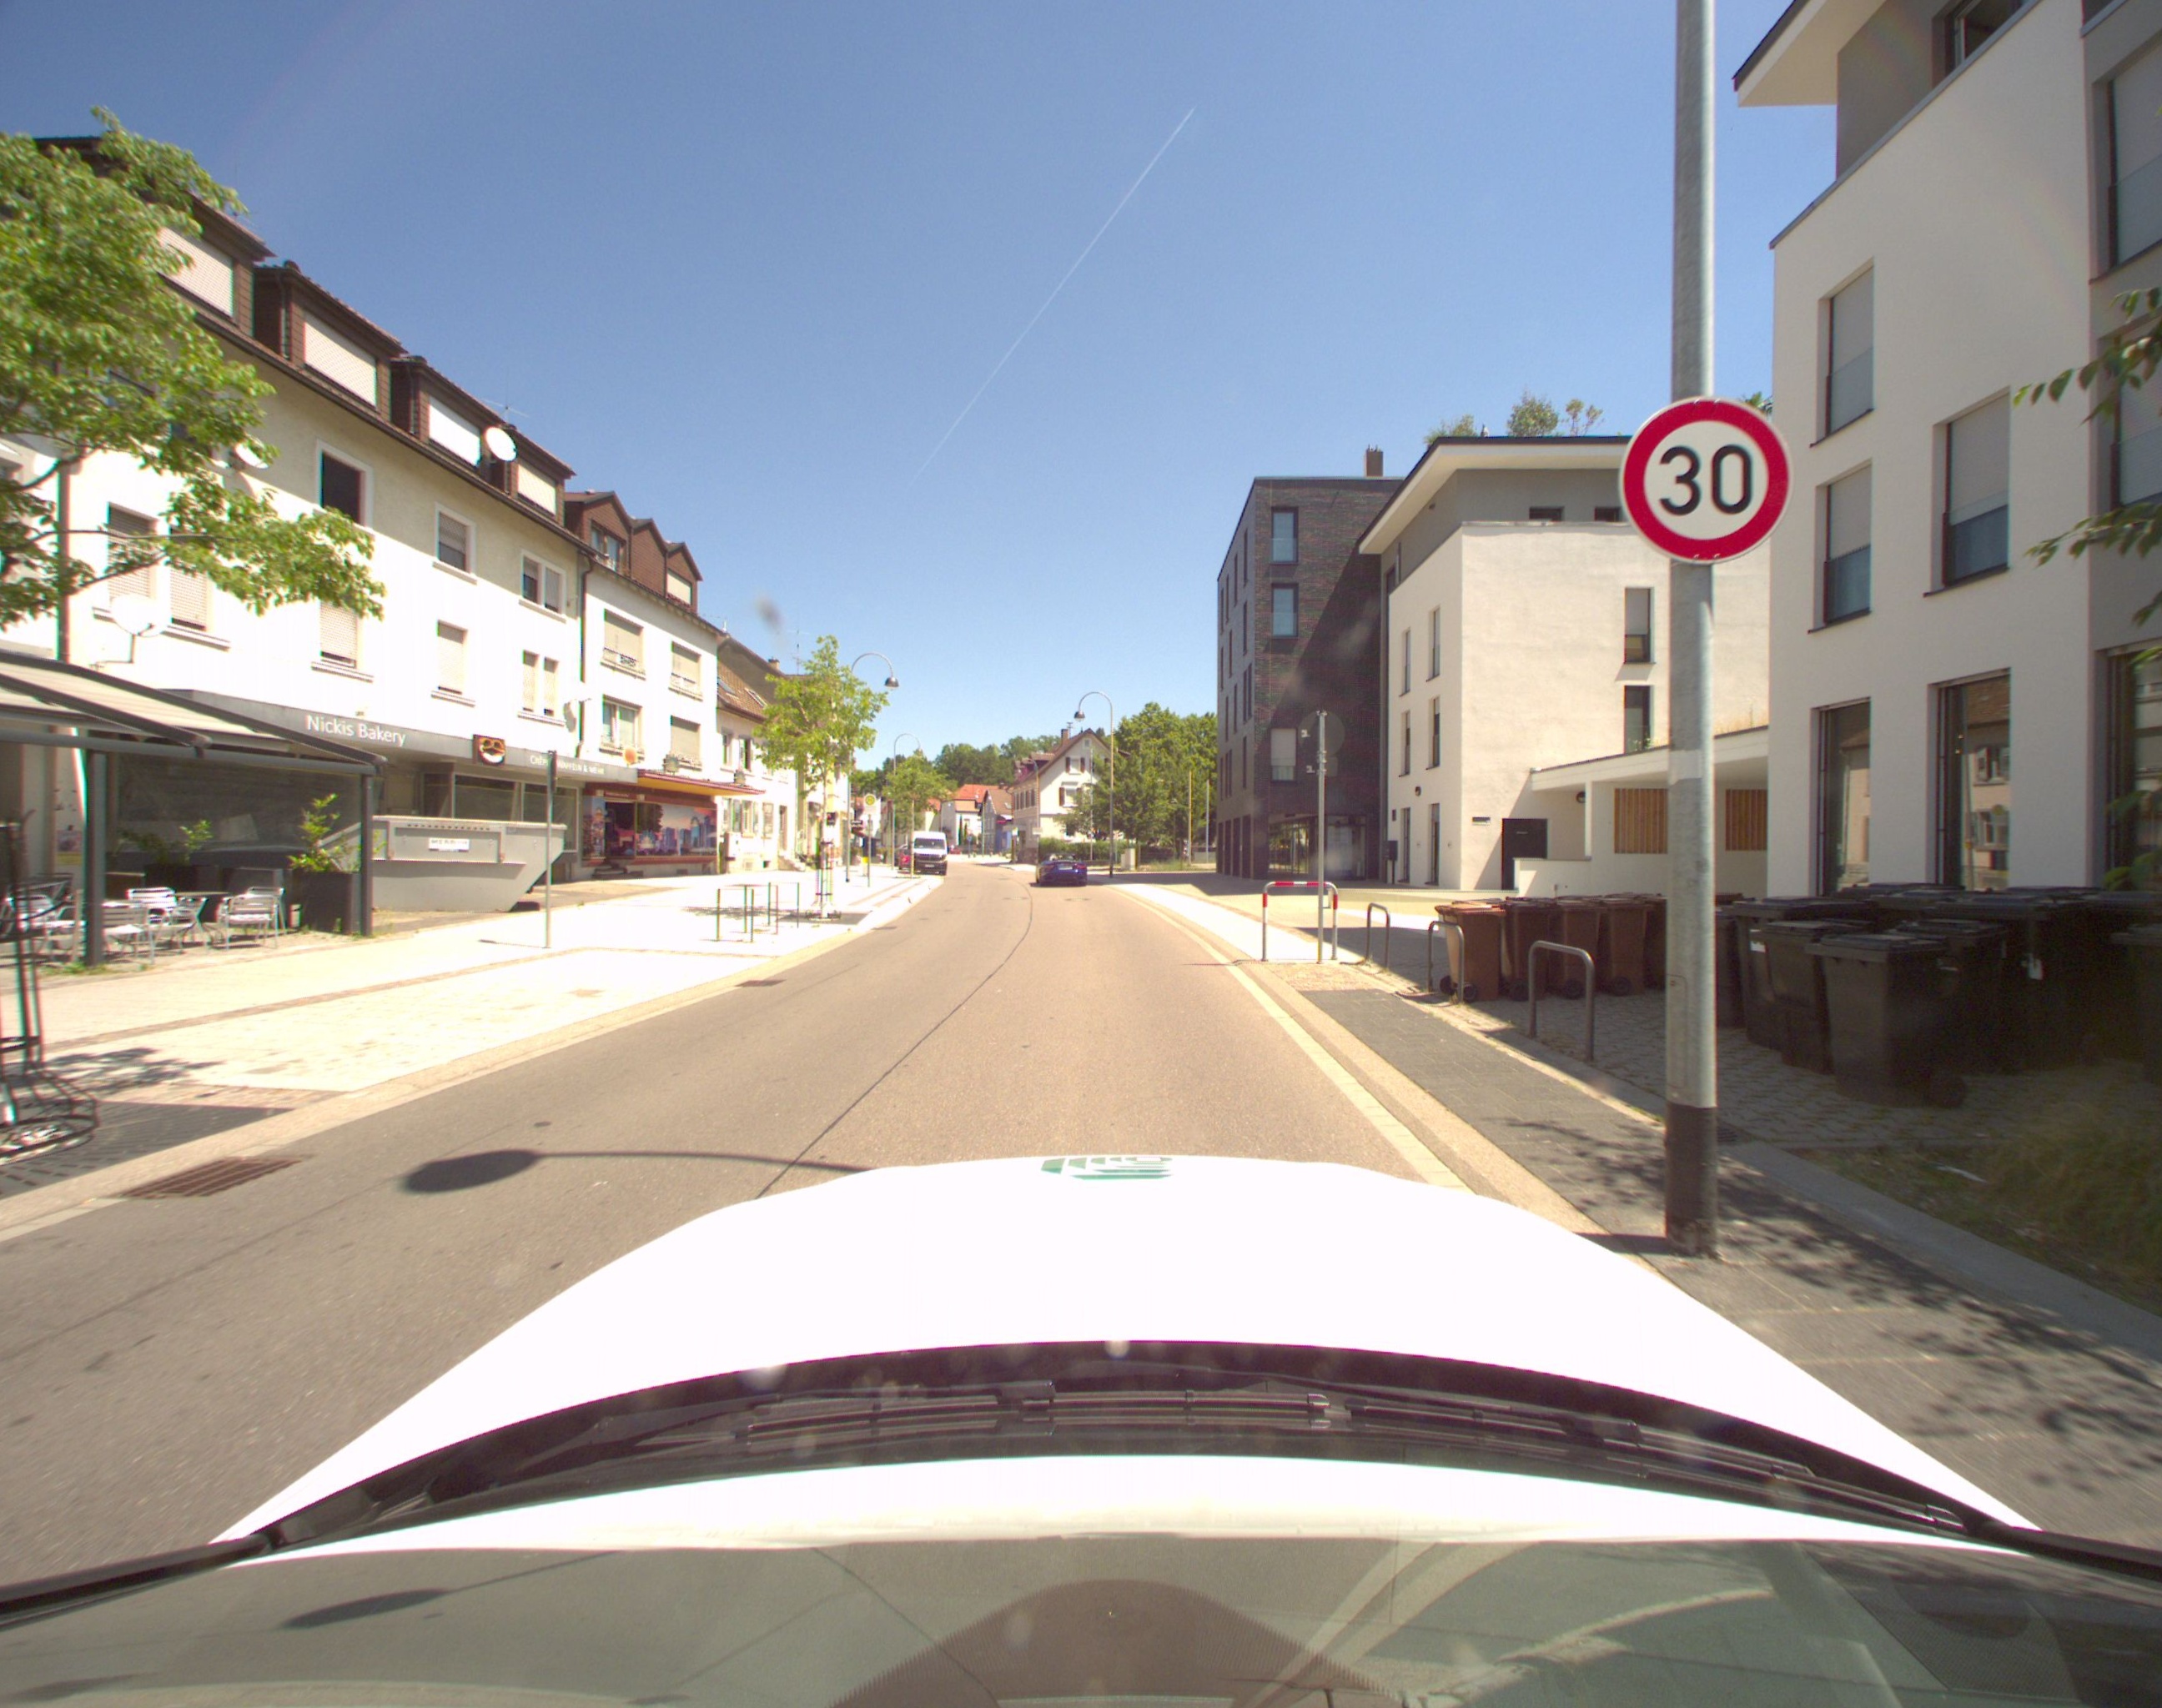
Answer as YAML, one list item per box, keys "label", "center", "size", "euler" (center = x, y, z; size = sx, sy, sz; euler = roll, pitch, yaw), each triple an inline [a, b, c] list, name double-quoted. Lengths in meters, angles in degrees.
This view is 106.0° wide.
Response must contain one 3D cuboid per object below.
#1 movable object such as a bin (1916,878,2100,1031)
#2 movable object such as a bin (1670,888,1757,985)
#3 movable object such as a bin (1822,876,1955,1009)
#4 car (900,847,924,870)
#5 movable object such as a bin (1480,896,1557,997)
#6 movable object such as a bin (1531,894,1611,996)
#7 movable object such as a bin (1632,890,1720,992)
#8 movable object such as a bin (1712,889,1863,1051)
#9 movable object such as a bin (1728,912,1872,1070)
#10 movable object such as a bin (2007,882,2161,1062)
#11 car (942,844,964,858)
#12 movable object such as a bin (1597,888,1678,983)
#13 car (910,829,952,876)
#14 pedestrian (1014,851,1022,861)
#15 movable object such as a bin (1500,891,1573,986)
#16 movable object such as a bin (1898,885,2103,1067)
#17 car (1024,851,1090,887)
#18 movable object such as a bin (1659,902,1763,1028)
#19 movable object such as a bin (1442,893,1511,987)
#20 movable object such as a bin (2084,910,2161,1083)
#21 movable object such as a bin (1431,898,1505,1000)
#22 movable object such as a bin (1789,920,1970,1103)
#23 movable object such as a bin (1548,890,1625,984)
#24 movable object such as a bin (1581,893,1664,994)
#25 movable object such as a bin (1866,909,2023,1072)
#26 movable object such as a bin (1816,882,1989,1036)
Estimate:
- label: "movable object such as a bin"
  center: [6.969, 0.729, 6.156]
  size: [0.643, 1.060, 0.626]
  euler: [-2, 0, 3]
- label: "movable object such as a bin"
  center: [6.458, 0.829, 8.334]
  size: [0.471, 0.930, 0.529]
  euler: [-2, 0, 2]
- label: "movable object such as a bin"
  center: [6.848, 0.724, 6.922]
  size: [0.569, 1.041, 0.558]
  euler: [-2, 0, -12]
- label: "car"
  center: [-11.413, 0.314, 55.168]
  size: [1.560, 1.520, 3.502]
  euler: [0, 0, -11]
- label: "movable object such as a bin"
  center: [4.320, 0.898, 8.060]
  size: [0.465, 0.930, 0.529]
  euler: [-2, 0, 2]
- label: "movable object such as a bin"
  center: [4.816, 0.883, 8.020]
  size: [0.463, 0.930, 0.522]
  euler: [-2, 0, 2]
- label: "movable object such as a bin"
  center: [5.826, 0.840, 7.996]
  size: [0.463, 0.930, 0.522]
  euler: [-2, 0, 2]
- label: "movable object such as a bin"
  center: [5.008, 0.801, 5.806]
  size: [0.566, 1.060, 0.561]
  euler: [-2, 0, 3]
- label: "movable object such as a bin"
  center: [4.682, 0.869, 5.324]
  size: [0.511, 0.931, 0.465]
  euler: [-2, 0, -4]
- label: "movable object such as a bin"
  center: [6.778, 0.736, 5.373]
  size: [0.646, 1.060, 0.623]
  euler: [-2, 0, -10]
- label: "car"
  center: [-18.743, -0.502, 118.983]
  size: [2.005, 2.013, 3.964]
  euler: [0, 0, -28]
- label: "movable object such as a bin"
  center: [5.824, 0.838, 8.541]
  size: [0.471, 0.930, 0.529]
  euler: [-2, 0, 2]
- label: "car"
  center: [-8.767, -0.116, 47.212]
  size: [2.094, 2.498, 5.479]
  euler: [2, 0, -13]
- label: "pedestrian"
  center: [-6.039, 0.200, 77.938]
  size: [0.591, 0.999, 0.720]
  euler: [-1, 1, -17]
- label: "movable object such as a bin"
  center: [4.801, 0.879, 8.603]
  size: [0.471, 0.930, 0.529]
  euler: [-2, 0, 2]
- label: "movable object such as a bin"
  center: [5.984, 0.756, 5.327]
  size: [0.646, 1.060, 0.623]
  euler: [-2, 0, -10]
- label: "car"
  center: [-1.090, 0.589, 33.935]
  size: [1.913, 1.360, 4.265]
  euler: [-1, 1, -14]
- label: "movable object such as a bin"
  center: [5.055, 0.869, 6.545]
  size: [0.517, 0.923, 0.434]
  euler: [-2, 0, -21]
- label: "movable object such as a bin"
  center: [4.199, 0.903, 8.665]
  size: [0.471, 0.930, 0.529]
  euler: [-2, 0, 2]
- label: "movable object such as a bin"
  center: [6.345, 0.812, 4.686]
  size: [0.560, 0.931, 0.465]
  euler: [-2, 0, -4]
- label: "movable object such as a bin"
  center: [3.801, 0.923, 8.025]
  size: [0.471, 0.930, 0.529]
  euler: [-2, 0, 2]
- label: "movable object such as a bin"
  center: [4.543, 0.873, 4.656]
  size: [0.560, 0.931, 0.465]
  euler: [-2, 0, -4]
- label: "movable object such as a bin"
  center: [5.324, 0.862, 8.593]
  size: [0.471, 0.930, 0.529]
  euler: [-2, 0, 2]
- label: "movable object such as a bin"
  center: [5.307, 0.864, 8.004]
  size: [0.463, 0.930, 0.522]
  euler: [-2, 0, 2]
- label: "movable object such as a bin"
  center: [5.453, 0.842, 5.164]
  size: [0.483, 0.931, 0.467]
  euler: [-2, 0, -4]
- label: "movable object such as a bin"
  center: [6.156, 0.762, 6.138]
  size: [0.643, 1.060, 0.626]
  euler: [-2, 0, 3]
